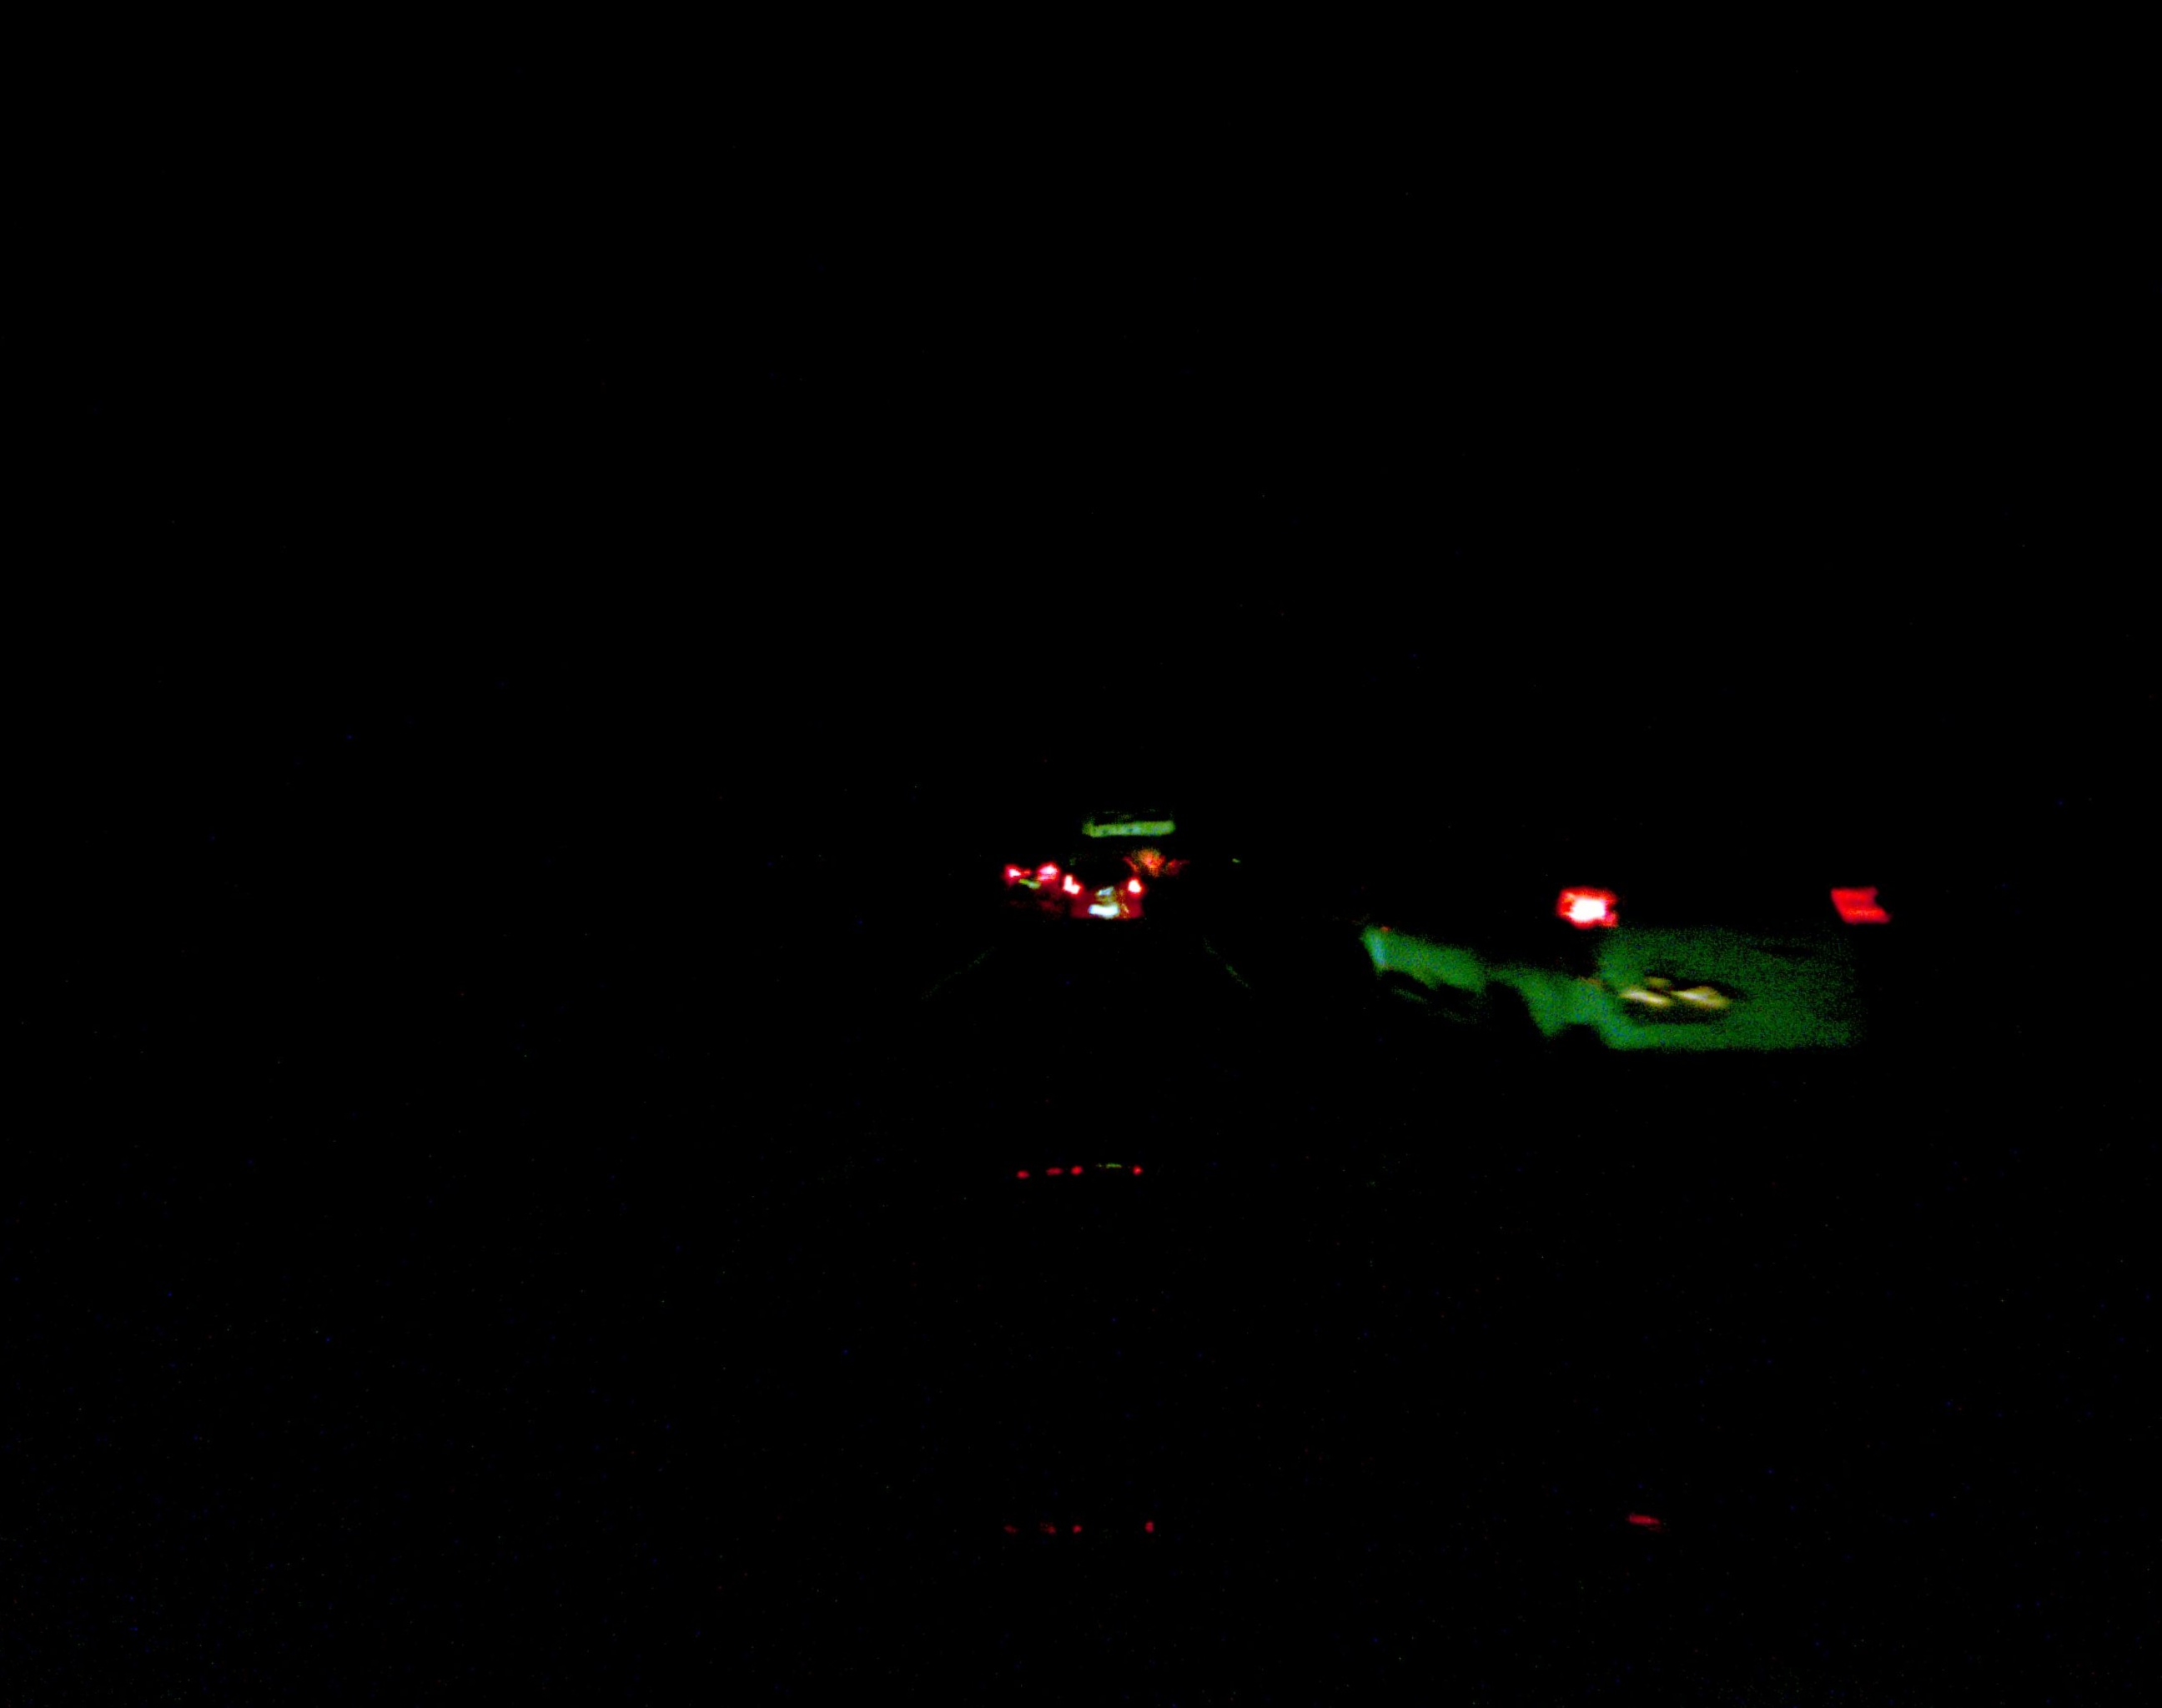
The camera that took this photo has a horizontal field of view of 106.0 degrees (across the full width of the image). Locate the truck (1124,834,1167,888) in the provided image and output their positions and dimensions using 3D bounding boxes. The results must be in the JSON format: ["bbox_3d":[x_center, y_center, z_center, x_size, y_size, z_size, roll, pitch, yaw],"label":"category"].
[{"bbox_3d":[7.383,0.832,95.038,4.152,5.544,13.079,-4,-1,2],"label":"truck"}]

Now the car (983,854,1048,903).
[{"bbox_3d":[-2.648,0.962,34.017,1.985,1.777,4.890,-4,-1,3],"label":"car"}]

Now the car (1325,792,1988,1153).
[{"bbox_3d":[3.655,0.596,6.664,1.945,1.792,5.127,-1,0,2],"label":"car"}]

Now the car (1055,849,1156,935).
[{"bbox_3d":[0.576,0.788,18.290,1.908,1.594,4.235,-4,-1,2],"label":"car"}]

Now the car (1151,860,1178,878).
[{"bbox_3d":[6.775,1.198,66.406,1.883,1.354,4.001,0,0,1],"label":"car"}]
